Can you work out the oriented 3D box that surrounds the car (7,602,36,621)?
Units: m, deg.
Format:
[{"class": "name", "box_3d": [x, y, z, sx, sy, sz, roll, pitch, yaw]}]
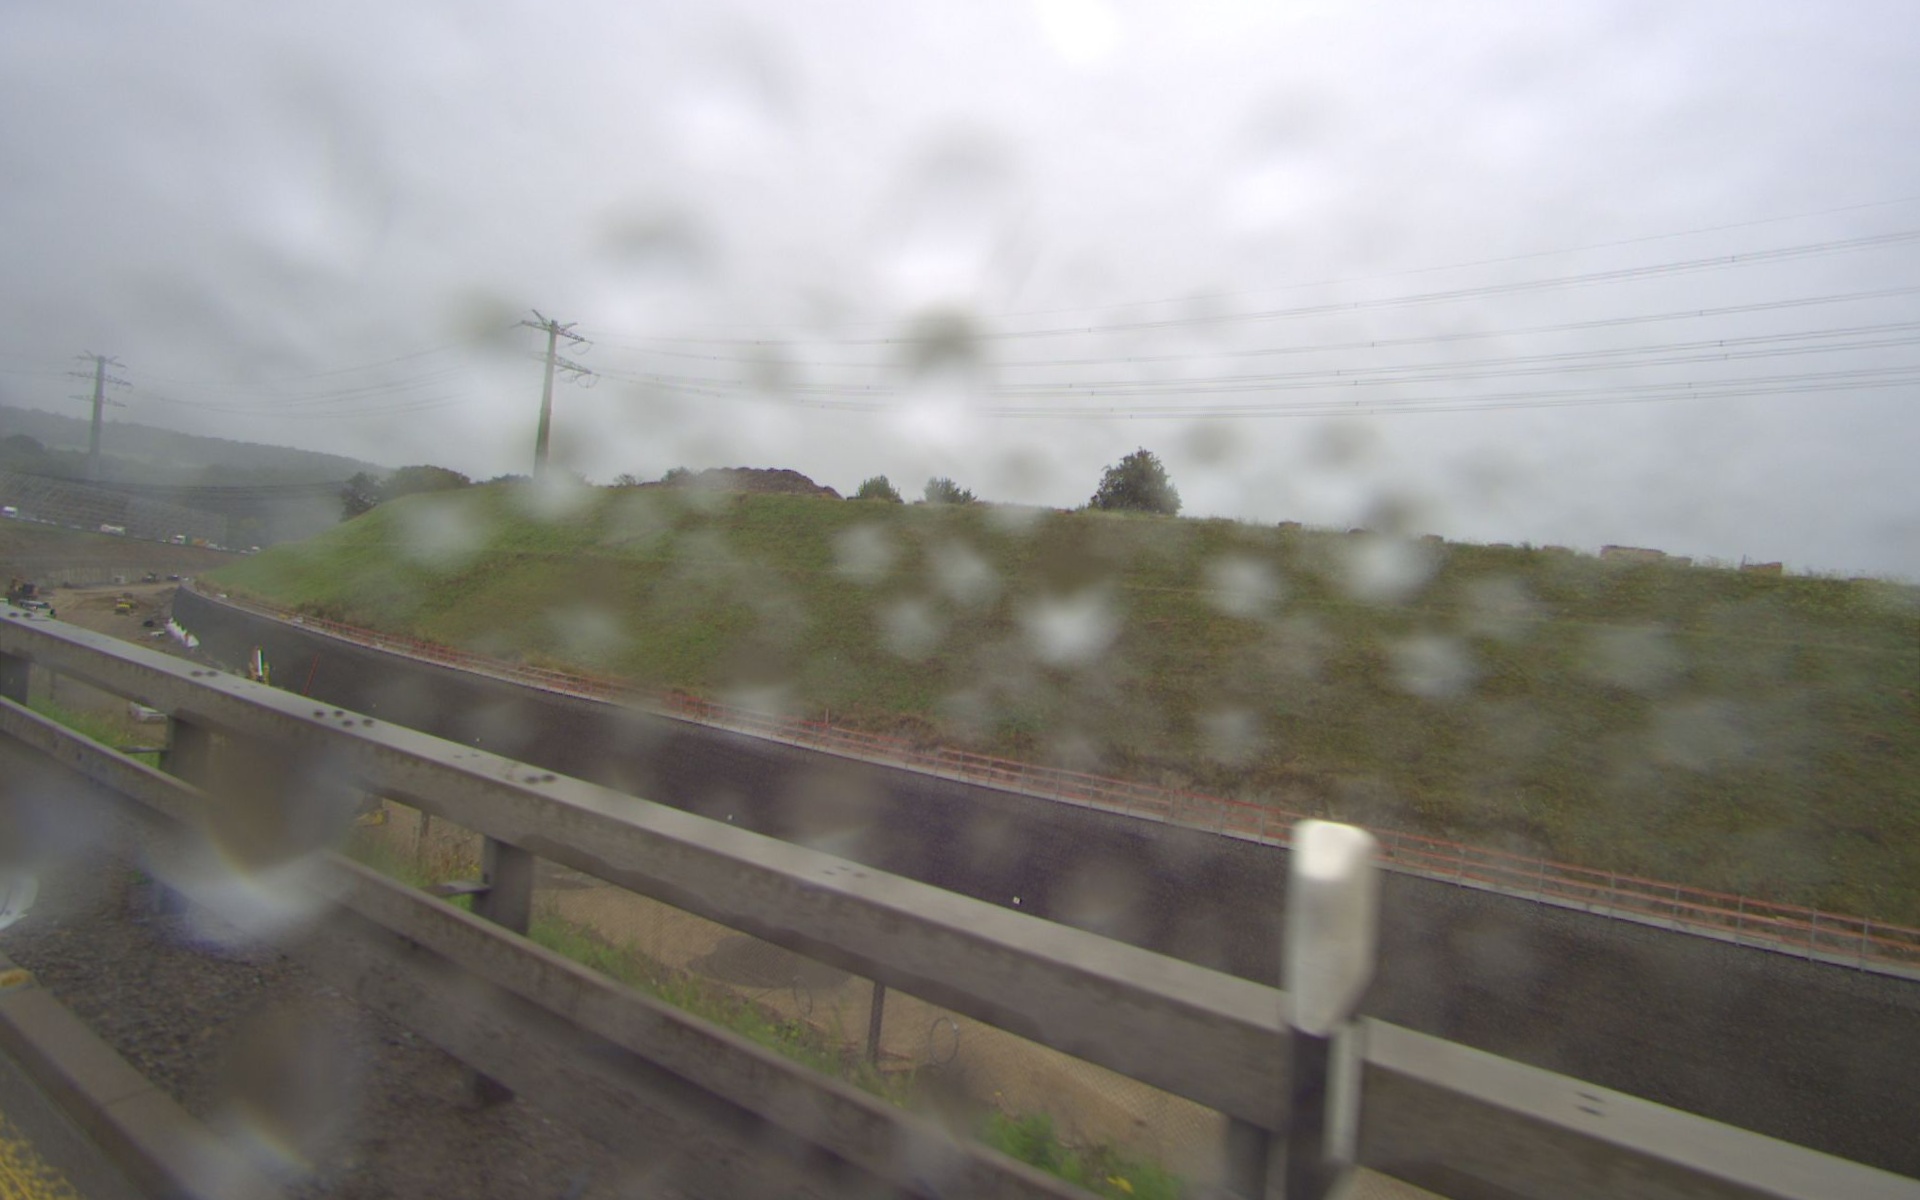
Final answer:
[{"class": "car", "box_3d": [-121.044, 1.470, 129.764, 3.940, 1.837, 1.994, 6, -2, 38]}]

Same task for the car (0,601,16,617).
[{"class": "car", "box_3d": [-146.831, 1.323, 154.708, 1.988, 2.036, 3.954, 9, -2, -41]}]

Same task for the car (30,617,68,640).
[{"class": "car", "box_3d": [-107.490, 3.362, 118.703, 3.937, 2.036, 2.368, 7, -2, 35]}]

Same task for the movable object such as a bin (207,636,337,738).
[{"class": "movable object such as a bin", "box_3d": [-31.979, 4.057, 46.761, 4.054, 3.910, 3.222, 8, -2, 33]}]
